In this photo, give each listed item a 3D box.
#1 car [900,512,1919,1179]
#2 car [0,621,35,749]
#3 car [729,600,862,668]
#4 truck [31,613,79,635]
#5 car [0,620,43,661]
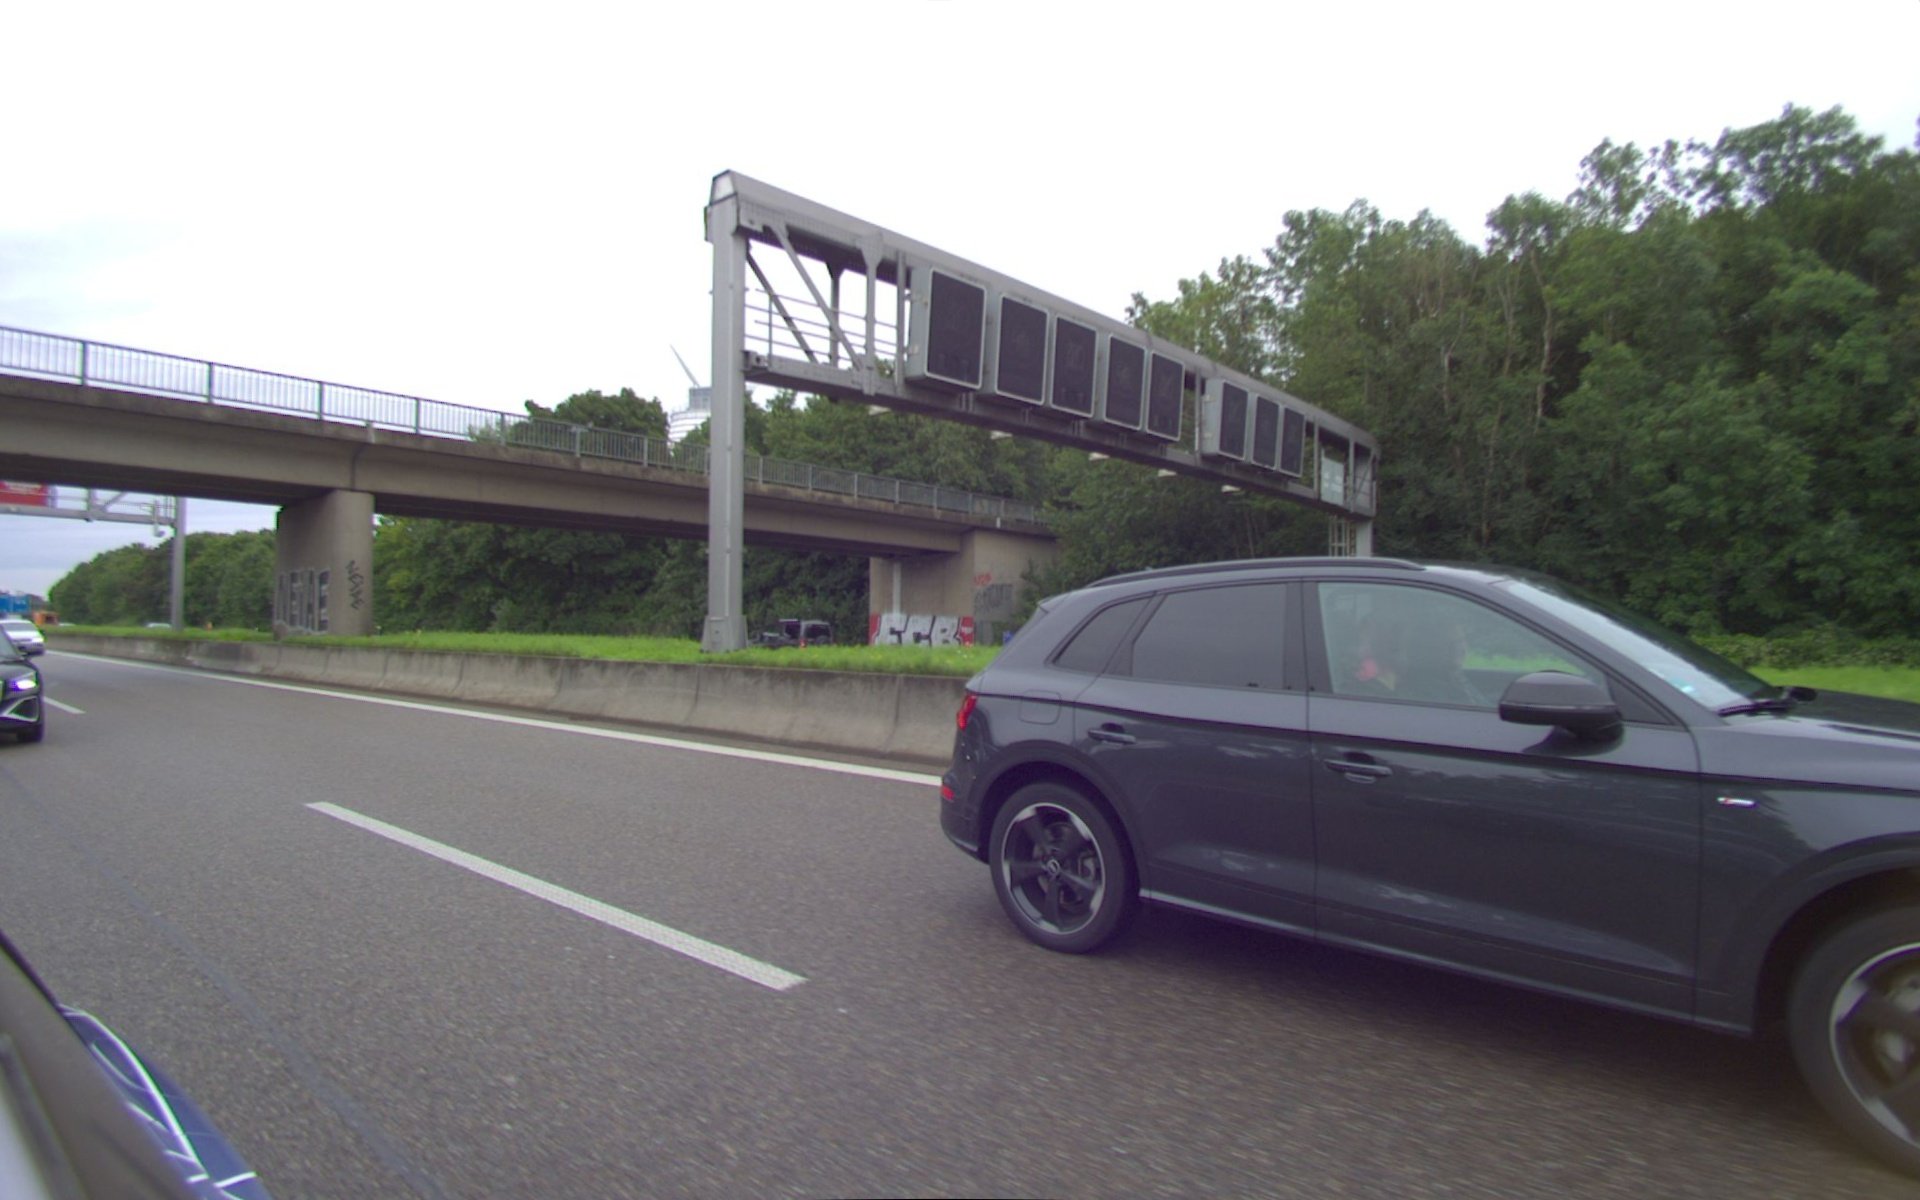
[{"bbox_3d":[2.293,0.595,3.781,5.121,1.612,1.973,-1,0,41],"label":"car"},{"bbox_3d":[-12.395,0.989,12.115,3.325,1.422,1.595,-1,0,41],"label":"car"},{"bbox_3d":[-5.125,1.013,31.306,3.998,1.954,1.973,-1,-1,41],"label":"car"},{"bbox_3d":[-154.909,4.051,173.242,11.269,3.449,4.780,-1,0,41],"label":"truck"},{"bbox_3d":[-39.422,1.650,41.849,4.662,1.630,1.734,-1,-2,42],"label":"car"}]
